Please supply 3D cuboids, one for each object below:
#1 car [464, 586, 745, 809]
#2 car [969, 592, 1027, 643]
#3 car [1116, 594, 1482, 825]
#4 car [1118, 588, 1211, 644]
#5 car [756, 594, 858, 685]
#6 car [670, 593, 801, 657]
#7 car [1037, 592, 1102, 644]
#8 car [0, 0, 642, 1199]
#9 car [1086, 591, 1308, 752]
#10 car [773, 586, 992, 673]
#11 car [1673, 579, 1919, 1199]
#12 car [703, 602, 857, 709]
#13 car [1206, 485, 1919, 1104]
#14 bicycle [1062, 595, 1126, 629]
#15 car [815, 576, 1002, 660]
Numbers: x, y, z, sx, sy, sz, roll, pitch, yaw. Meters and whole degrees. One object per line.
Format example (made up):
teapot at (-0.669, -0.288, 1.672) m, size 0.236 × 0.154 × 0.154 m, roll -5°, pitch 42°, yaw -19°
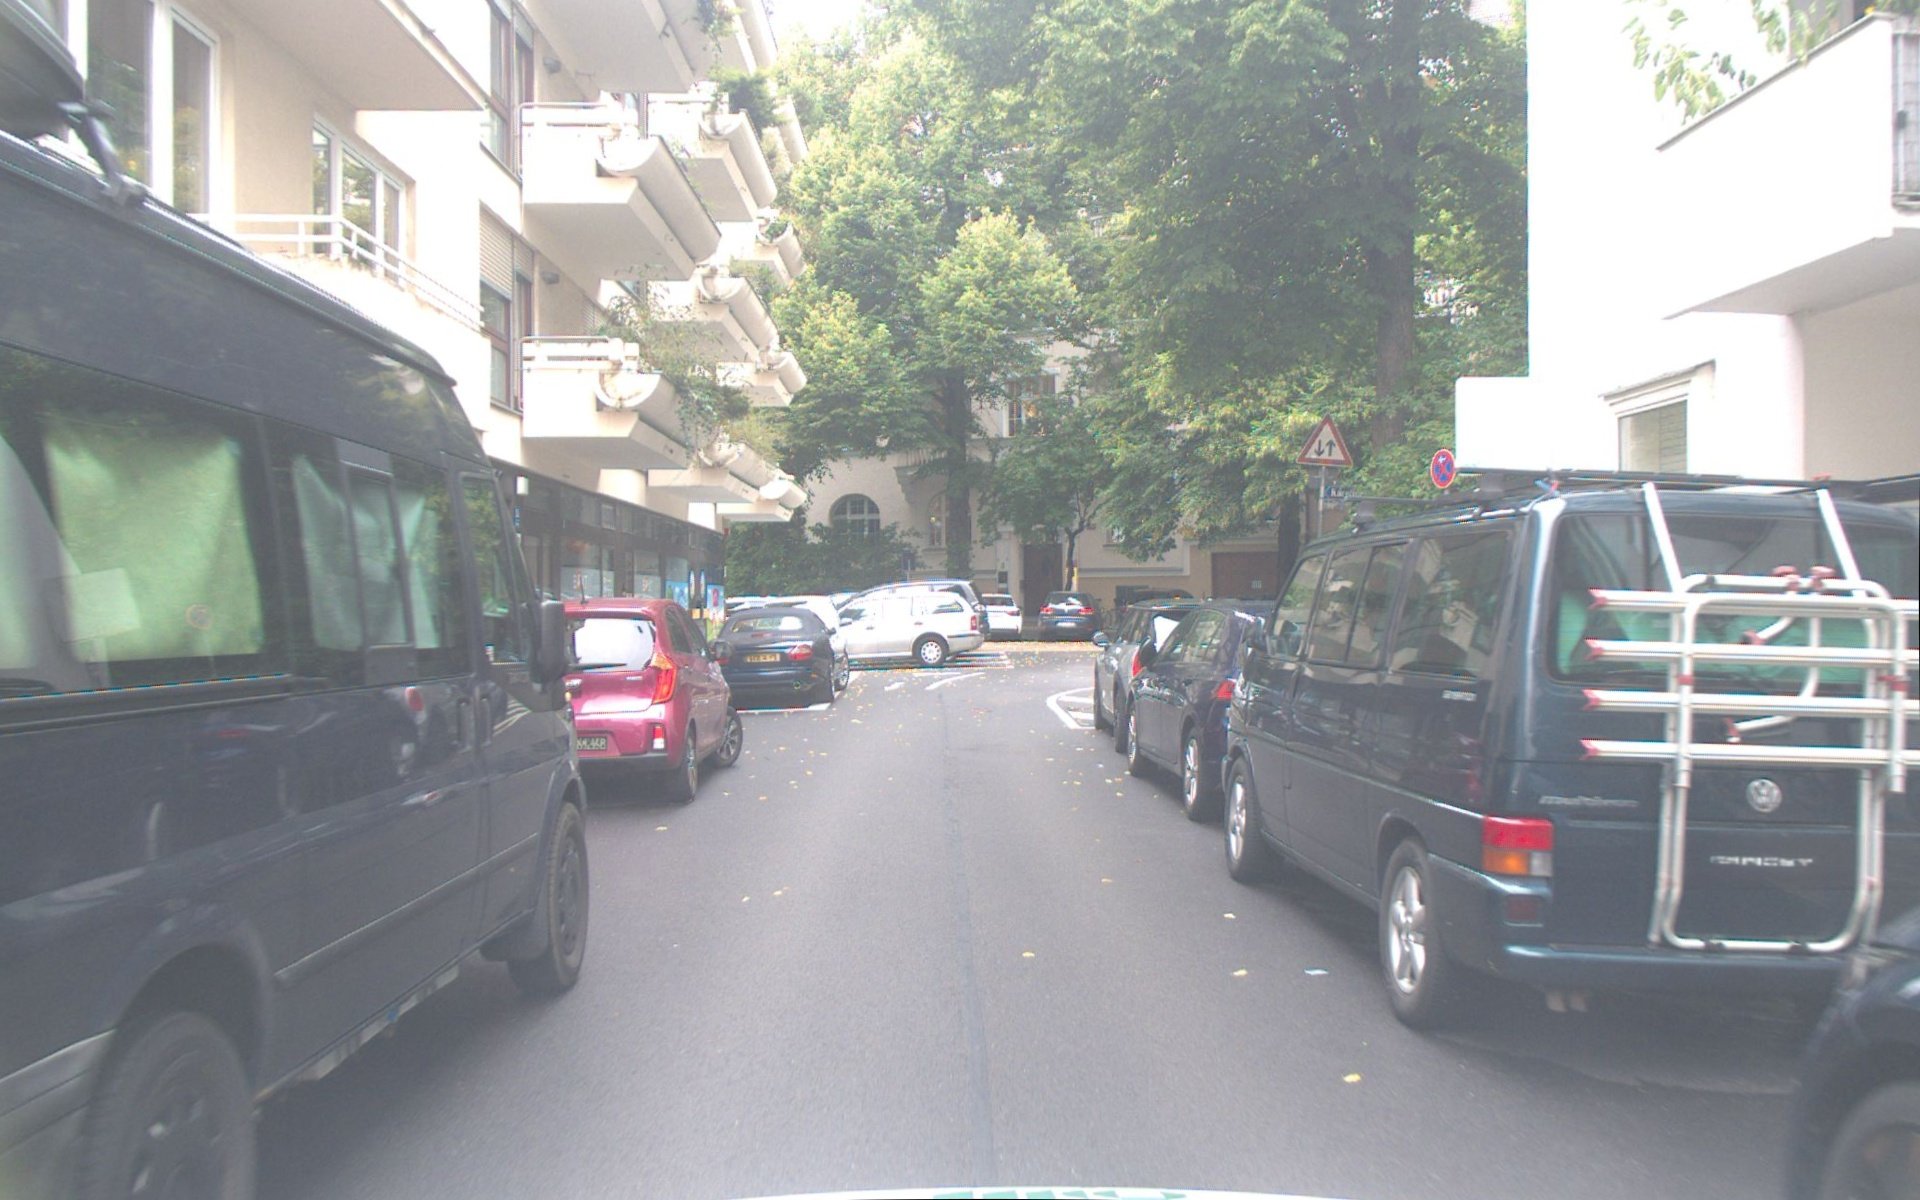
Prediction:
car at (-2.699, 0.674, 13.310) m, size 1.587 × 1.522 × 3.707 m, roll 0°, pitch 0°, yaw -2°
car at (1.152, 0.509, 50.026) m, size 1.683 × 1.456 × 4.001 m, roll 1°, pitch 0°, yaw 1°
car at (2.346, 0.690, 12.514) m, size 1.796 × 1.444 × 4.056 m, roll 0°, pitch 0°, yaw -2°
car at (6.044, 0.448, 48.483) m, size 1.801 × 1.557 × 4.025 m, roll 0°, pitch 0°, yaw 21°
car at (-2.632, 0.643, 29.127) m, size 1.529 × 1.446 × 3.832 m, roll -2°, pitch 0°, yaw -2°
car at (-6.019, 0.653, 44.372) m, size 3.240 × 1.659 × 1.501 m, roll 0°, pitch 0°, yaw -21°
car at (3.278, 0.498, 48.894) m, size 1.753 × 1.456 × 4.003 m, roll 1°, pitch 0°, yaw 6°
car at (-2.403, 0.297, 4.667) m, size 1.977 × 2.318 × 5.389 m, roll -2°, pitch 0°, yaw -1°
car at (2.329, 0.655, 17.173) m, size 1.707 × 1.466 × 4.000 m, roll 0°, pitch 0°, yaw 0°
car at (-1.511, 0.565, 32.723) m, size 4.143 × 1.480 × 1.720 m, roll -3°, pitch 0°, yaw -2°
car at (2.638, 0.744, 1.510) m, size 1.867 × 1.581 × 4.623 m, roll 0°, pitch 0°, yaw -2°
car at (-2.458, 0.715, 23.576) m, size 1.760 × 1.300 × 4.615 m, roll -2°, pitch 0°, yaw -2°
car at (2.429, 0.582, 7.297) m, size 1.837 × 1.822 × 4.780 m, roll 0°, pitch 0°, yaw -2°
bicycle at (4.675, 0.417, 57.734) m, size 2.185 × 1.135 × 0.576 m, roll 1°, pitch 0°, yaw 27°
car at (-1.192, 0.397, 37.983) m, size 4.136 × 1.713 × 1.901 m, roll -2°, pitch 0°, yaw -3°
